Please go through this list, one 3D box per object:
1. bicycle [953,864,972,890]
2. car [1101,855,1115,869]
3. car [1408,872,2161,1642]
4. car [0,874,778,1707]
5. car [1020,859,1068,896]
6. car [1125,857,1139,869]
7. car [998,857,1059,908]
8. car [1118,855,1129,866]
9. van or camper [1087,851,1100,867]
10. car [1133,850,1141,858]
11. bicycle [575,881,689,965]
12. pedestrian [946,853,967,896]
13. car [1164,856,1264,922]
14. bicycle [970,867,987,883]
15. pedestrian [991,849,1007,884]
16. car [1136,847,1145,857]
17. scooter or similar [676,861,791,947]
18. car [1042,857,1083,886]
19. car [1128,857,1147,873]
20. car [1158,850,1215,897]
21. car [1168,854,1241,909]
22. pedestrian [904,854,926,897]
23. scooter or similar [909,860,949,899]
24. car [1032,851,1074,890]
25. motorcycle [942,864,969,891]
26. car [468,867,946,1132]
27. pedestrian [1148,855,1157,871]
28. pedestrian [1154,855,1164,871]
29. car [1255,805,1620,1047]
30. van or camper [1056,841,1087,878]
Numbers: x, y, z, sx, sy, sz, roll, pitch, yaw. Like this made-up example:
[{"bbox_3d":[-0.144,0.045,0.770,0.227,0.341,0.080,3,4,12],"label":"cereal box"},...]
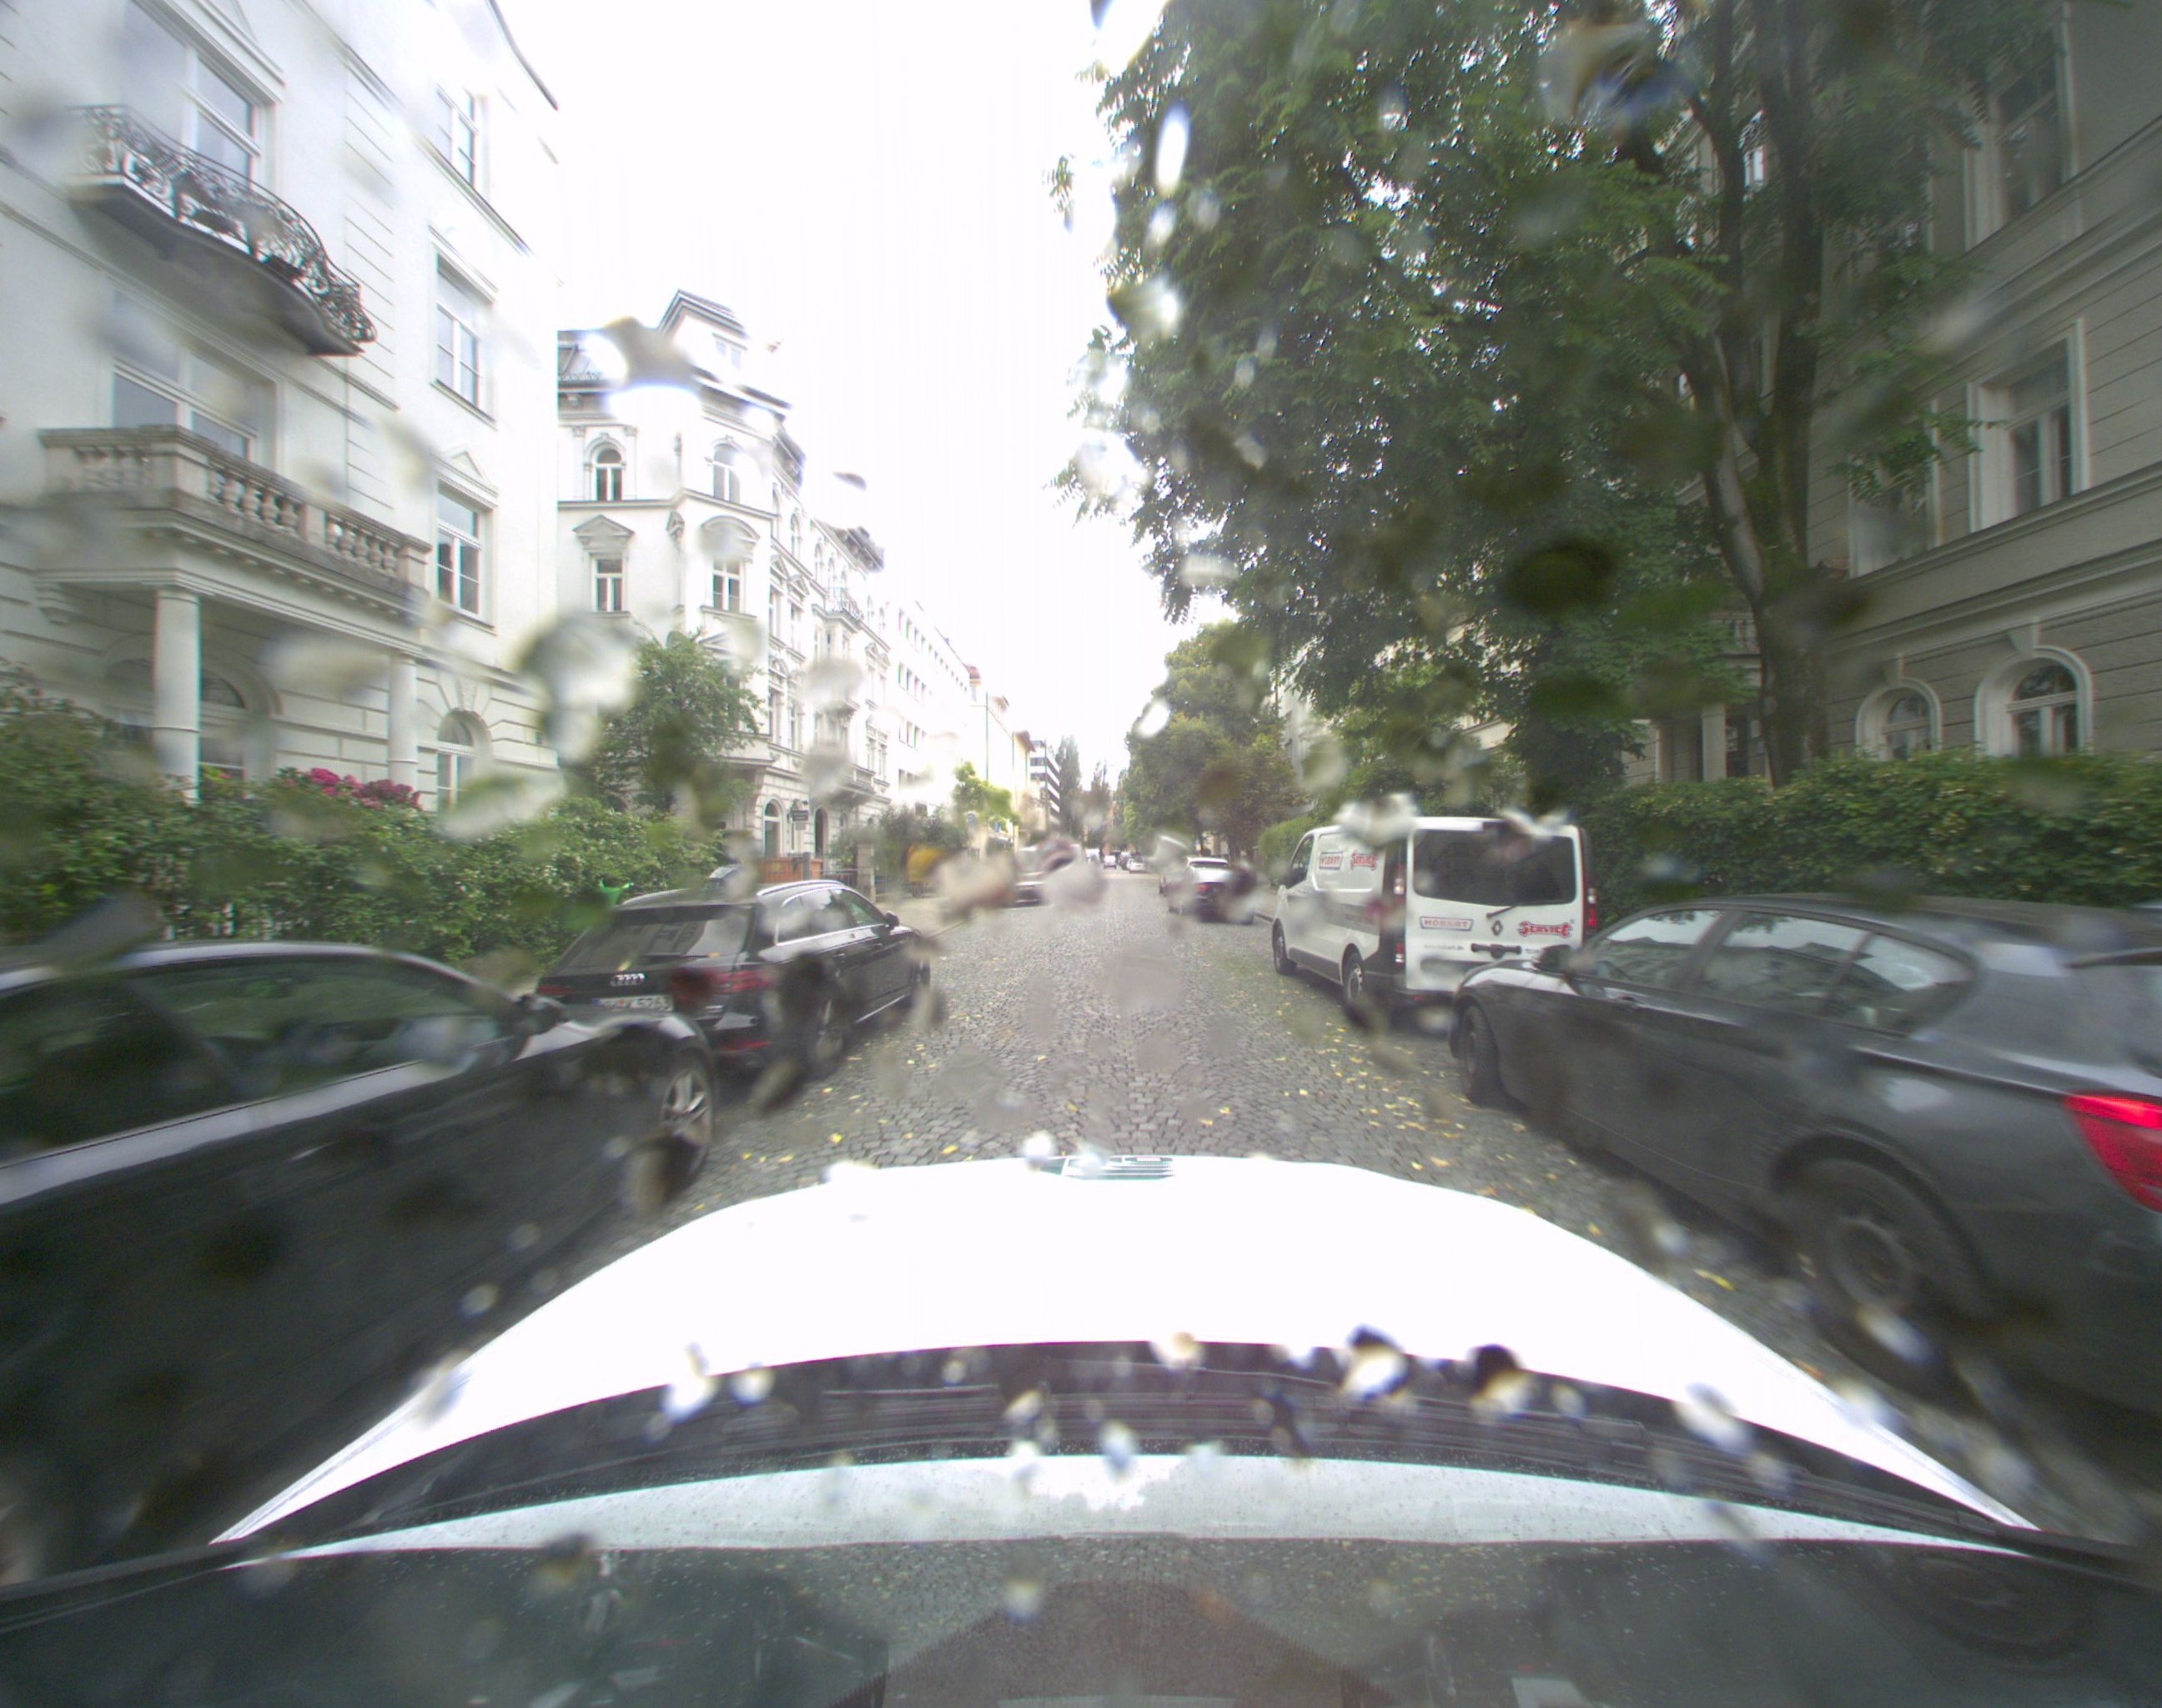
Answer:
[{"bbox_3d":[-5.790,1.093,39.736,0.657,1.221,2.077,0,0,-17],"label":"bicycle"},{"bbox_3d":[3.925,1.103,116.914,1.985,2.014,4.002,-1,0,2],"label":"car"},{"bbox_3d":[3.251,0.900,3.815,1.829,1.490,4.424,2,0,3],"label":"car"},{"bbox_3d":[-2.738,0.878,2.514,1.777,1.417,4.497,-4,0,1],"label":"car"},{"bbox_3d":[-1.555,0.987,35.579,1.867,1.451,4.207,-2,0,0],"label":"car"},{"bbox_3d":[6.458,1.159,103.769,1.783,1.520,4.002,-1,0,2],"label":"car"},{"bbox_3d":[-1.817,0.962,29.528,1.867,1.580,4.254,-3,0,0],"label":"car"},{"bbox_3d":[7.719,1.115,146.992,1.985,2.014,4.002,0,0,2],"label":"car"},{"bbox_3d":[2.324,0.884,146.752,2.247,2.742,5.100,0,0,2],"label":"van or camper"},{"bbox_3d":[14.536,0.123,210.405,1.985,2.014,4.002,0,-1,2],"label":"car"},{"bbox_3d":[-6.840,1.013,12.534,0.575,1.122,2.051,-1,0,1],"label":"bicycle"},{"bbox_3d":[-5.027,0.819,32.922,0.690,1.687,0.720,-1,-1,1],"label":"pedestrian"},{"bbox_3d":[3.375,0.831,21.473,1.867,1.503,4.510,2,0,0],"label":"car"},{"bbox_3d":[-5.838,1.205,46.361,0.500,0.839,2.092,-1,0,5],"label":"bicycle"},{"bbox_3d":[-4.540,0.665,45.075,0.789,1.917,0.759,0,0,1],"label":"pedestrian"},{"bbox_3d":[13.628,-0.451,185.863,1.985,2.014,4.002,0,-1,2],"label":"car"},{"bbox_3d":[-6.398,0.857,15.207,0.938,1.441,2.656,1,0,1],"label":"scooter or similar"},{"bbox_3d":[-1.002,0.997,47.214,1.864,1.580,4.214,1,0,5],"label":"car"},{"bbox_3d":[5.761,1.088,83.077,1.783,1.520,4.002,-1,0,2],"label":"car"},{"bbox_3d":[4.236,0.760,33.336,1.866,1.733,4.595,2,0,2],"label":"car"},{"bbox_3d":[3.977,0.845,26.791,1.811,1.580,4.209,2,0,1],"label":"car"},{"bbox_3d":[-6.664,0.857,32.636,0.715,1.687,0.695,-1,-1,1],"label":"pedestrian"},{"bbox_3d":[-5.957,0.984,32.082,0.937,1.441,2.658,-1,0,2],"label":"scooter or similar"},{"bbox_3d":[-1.395,0.805,42.100,1.867,1.776,4.123,-4,0,1],"label":"car"},{"bbox_3d":[-5.759,1.091,37.569,0.619,1.196,1.870,0,0,11],"label":"motorcycle"},{"bbox_3d":[-2.634,0.918,7.118,1.879,1.417,4.410,-4,0,3],"label":"car"},{"bbox_3d":[8.770,1.124,100.005,0.857,2.014,0.986,0,-1,-15],"label":"pedestrian"},{"bbox_3d":[9.636,1.123,100.421,0.857,2.014,0.986,0,-1,-15],"label":"pedestrian"},{"bbox_3d":[3.488,0.605,9.280,1.867,1.928,5.163,2,0,0],"label":"car"},{"bbox_3d":[-0.687,0.411,62.171,1.986,2.652,4.002,-3,0,2],"label":"van or camper"}]
